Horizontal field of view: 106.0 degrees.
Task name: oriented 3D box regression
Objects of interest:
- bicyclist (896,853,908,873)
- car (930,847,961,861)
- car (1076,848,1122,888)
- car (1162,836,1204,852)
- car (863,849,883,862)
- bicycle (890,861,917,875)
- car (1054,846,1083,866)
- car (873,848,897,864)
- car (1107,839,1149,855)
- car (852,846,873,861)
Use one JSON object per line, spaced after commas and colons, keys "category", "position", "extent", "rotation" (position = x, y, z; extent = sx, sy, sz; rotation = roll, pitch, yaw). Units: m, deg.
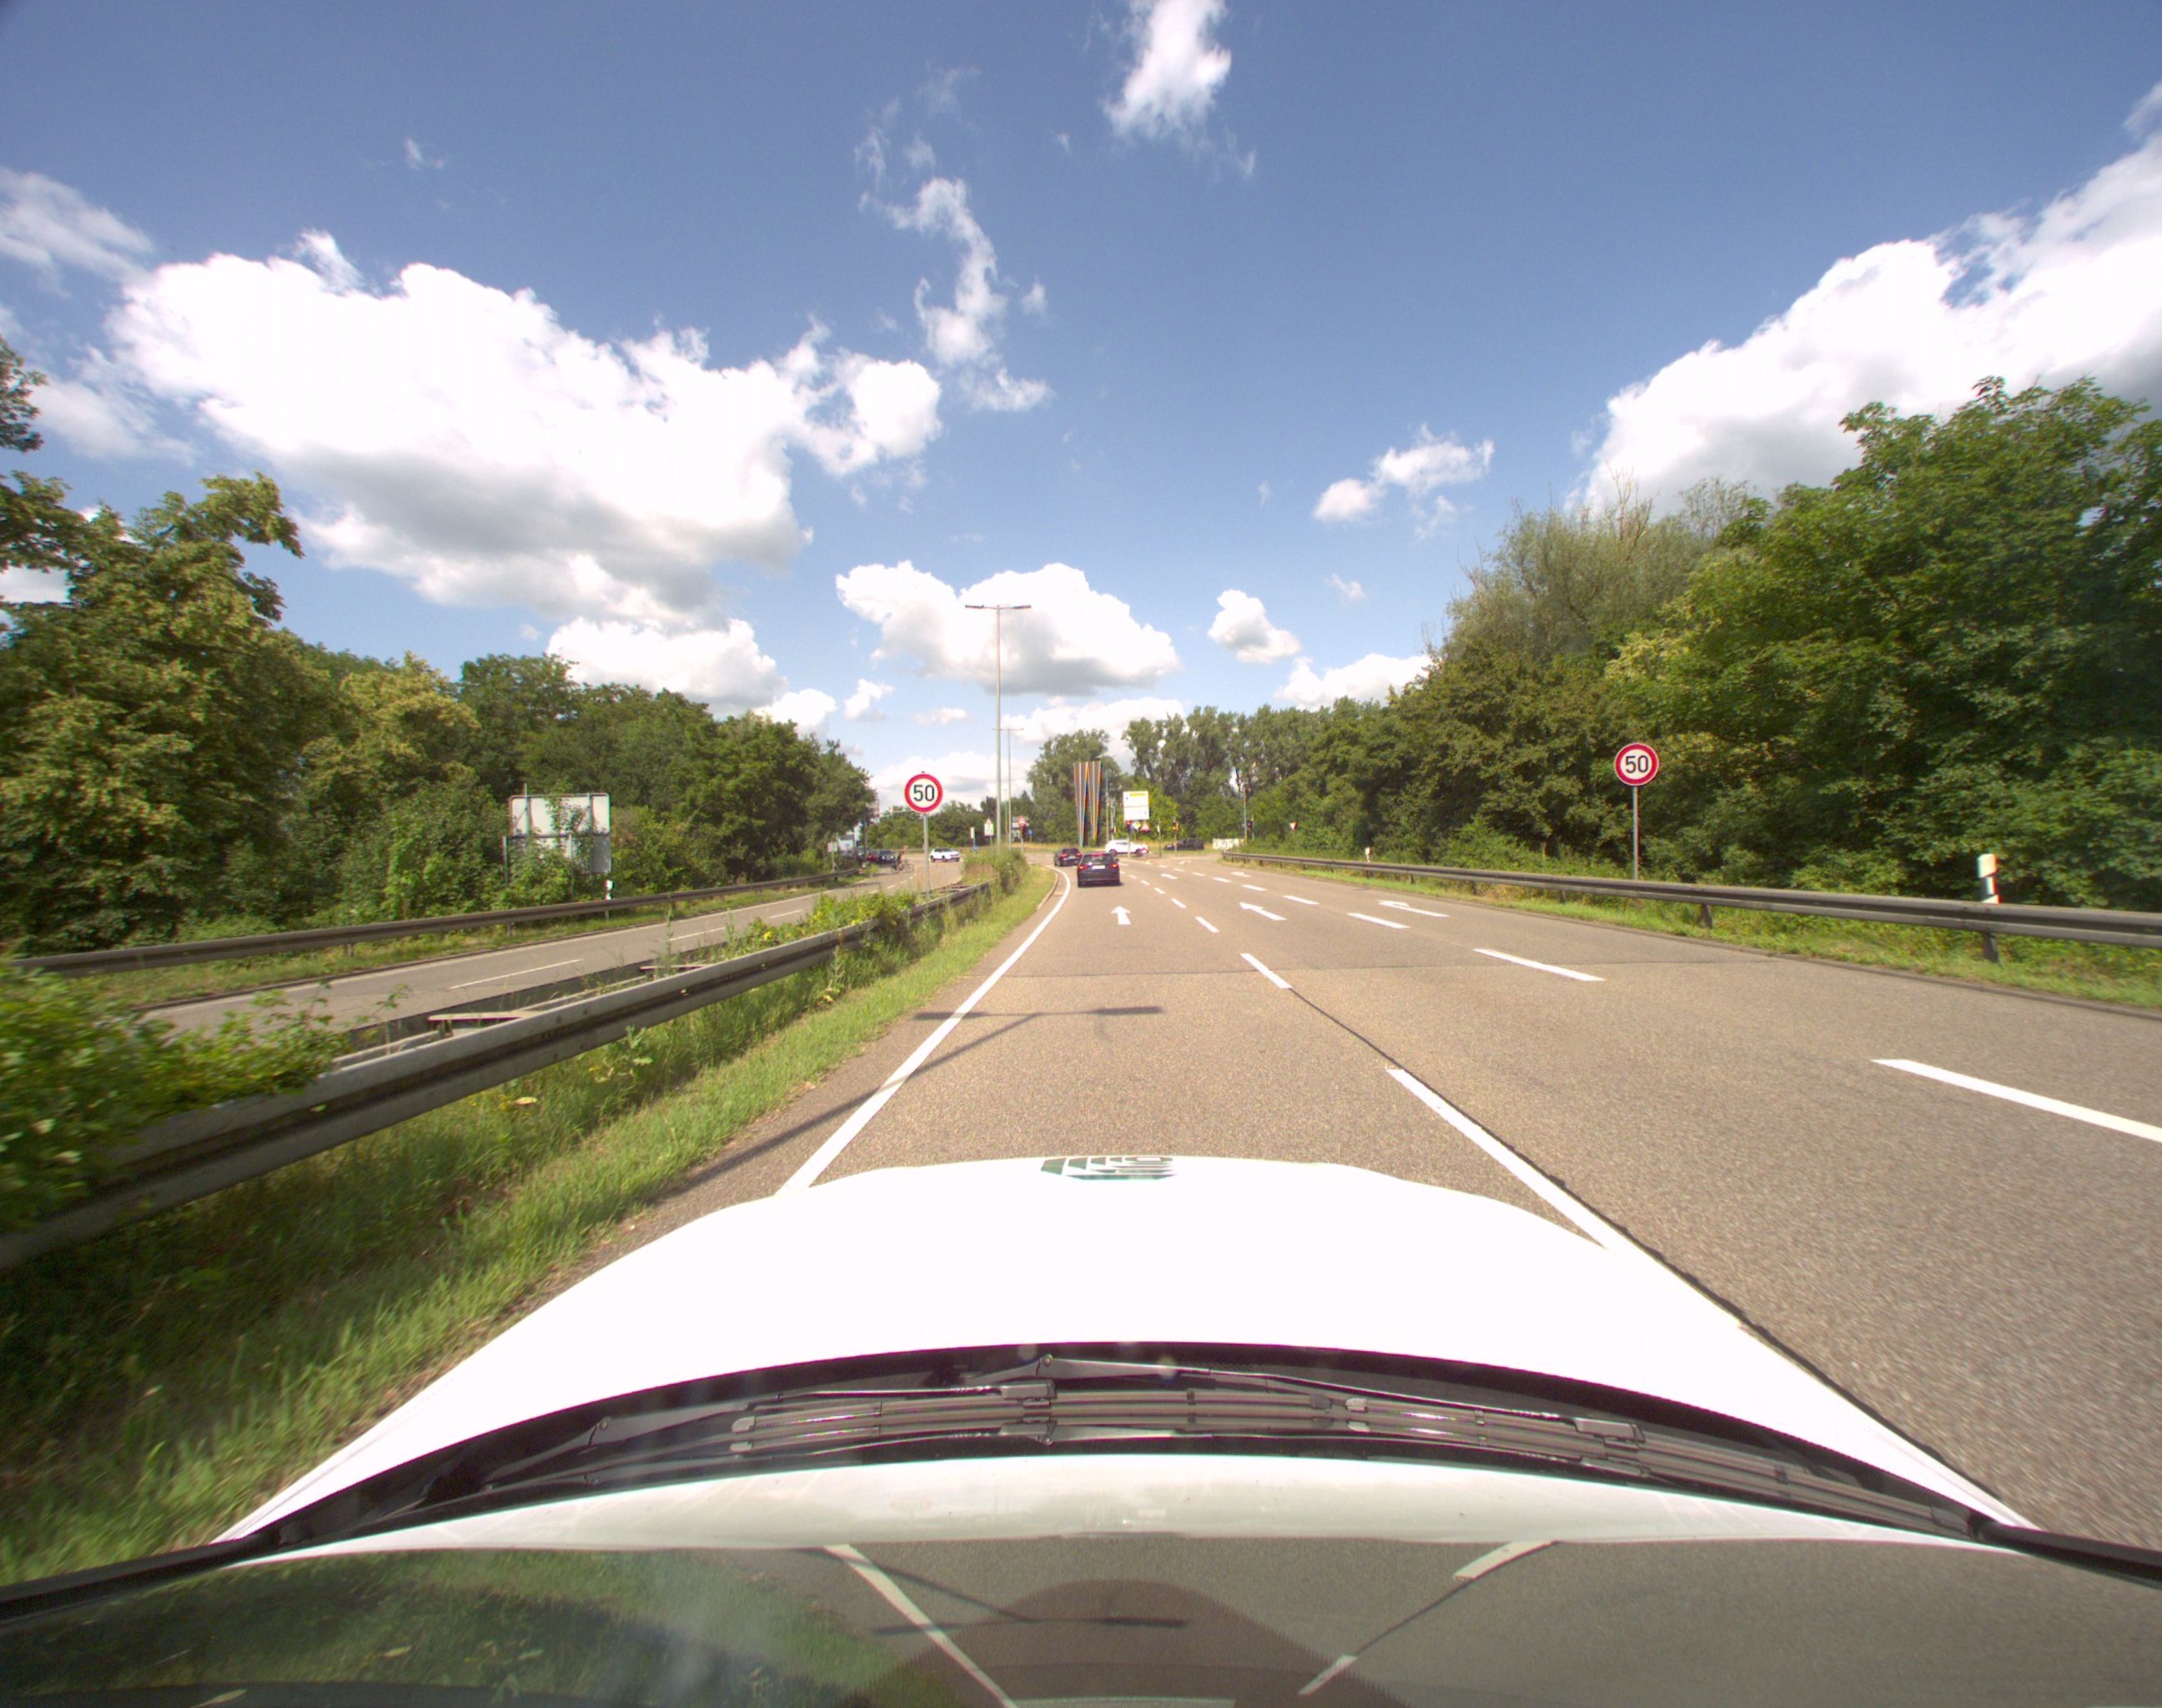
{"category": "bicyclist", "position": [-14.580, 0.738, 66.362], "extent": [0.836, 1.560, 0.668], "rotation": [-2, 0, -17]}
{"category": "car", "position": [-14.562, -0.015, 87.585], "extent": [1.744, 1.476, 4.004], "rotation": [-1, 1, -35]}
{"category": "car", "position": [0.705, 0.541, 33.998], "extent": [1.721, 1.404, 3.999], "rotation": [-3, 1, -1]}
{"category": "car", "position": [11.074, -1.076, 88.908], "extent": [4.261, 1.545, 1.734], "rotation": [-3, 1, -5]}
{"category": "car", "position": [-25.457, 0.178, 99.593], "extent": [1.740, 1.476, 4.014], "rotation": [-3, 1, -25]}
{"category": "bicycle", "position": [-14.490, 1.123, 66.385], "extent": [2.058, 1.023, 0.668], "rotation": [-2, 0, -18]}
{"category": "car", "position": [-1.016, 0.120, 63.375], "extent": [1.725, 1.423, 3.834], "rotation": [-5, 1, -8]}
{"category": "car", "position": [-22.202, 0.208, 92.271], "extent": [1.848, 1.618, 3.967], "rotation": [-3, 0, -24]}
{"category": "car", "position": [4.622, -0.686, 79.928], "extent": [4.001, 1.509, 1.961], "rotation": [0, -1, 8]}
{"category": "car", "position": [-28.407, -0.043, 105.702], "extent": [1.852, 1.801, 4.291], "rotation": [-3, 1, -25]}
